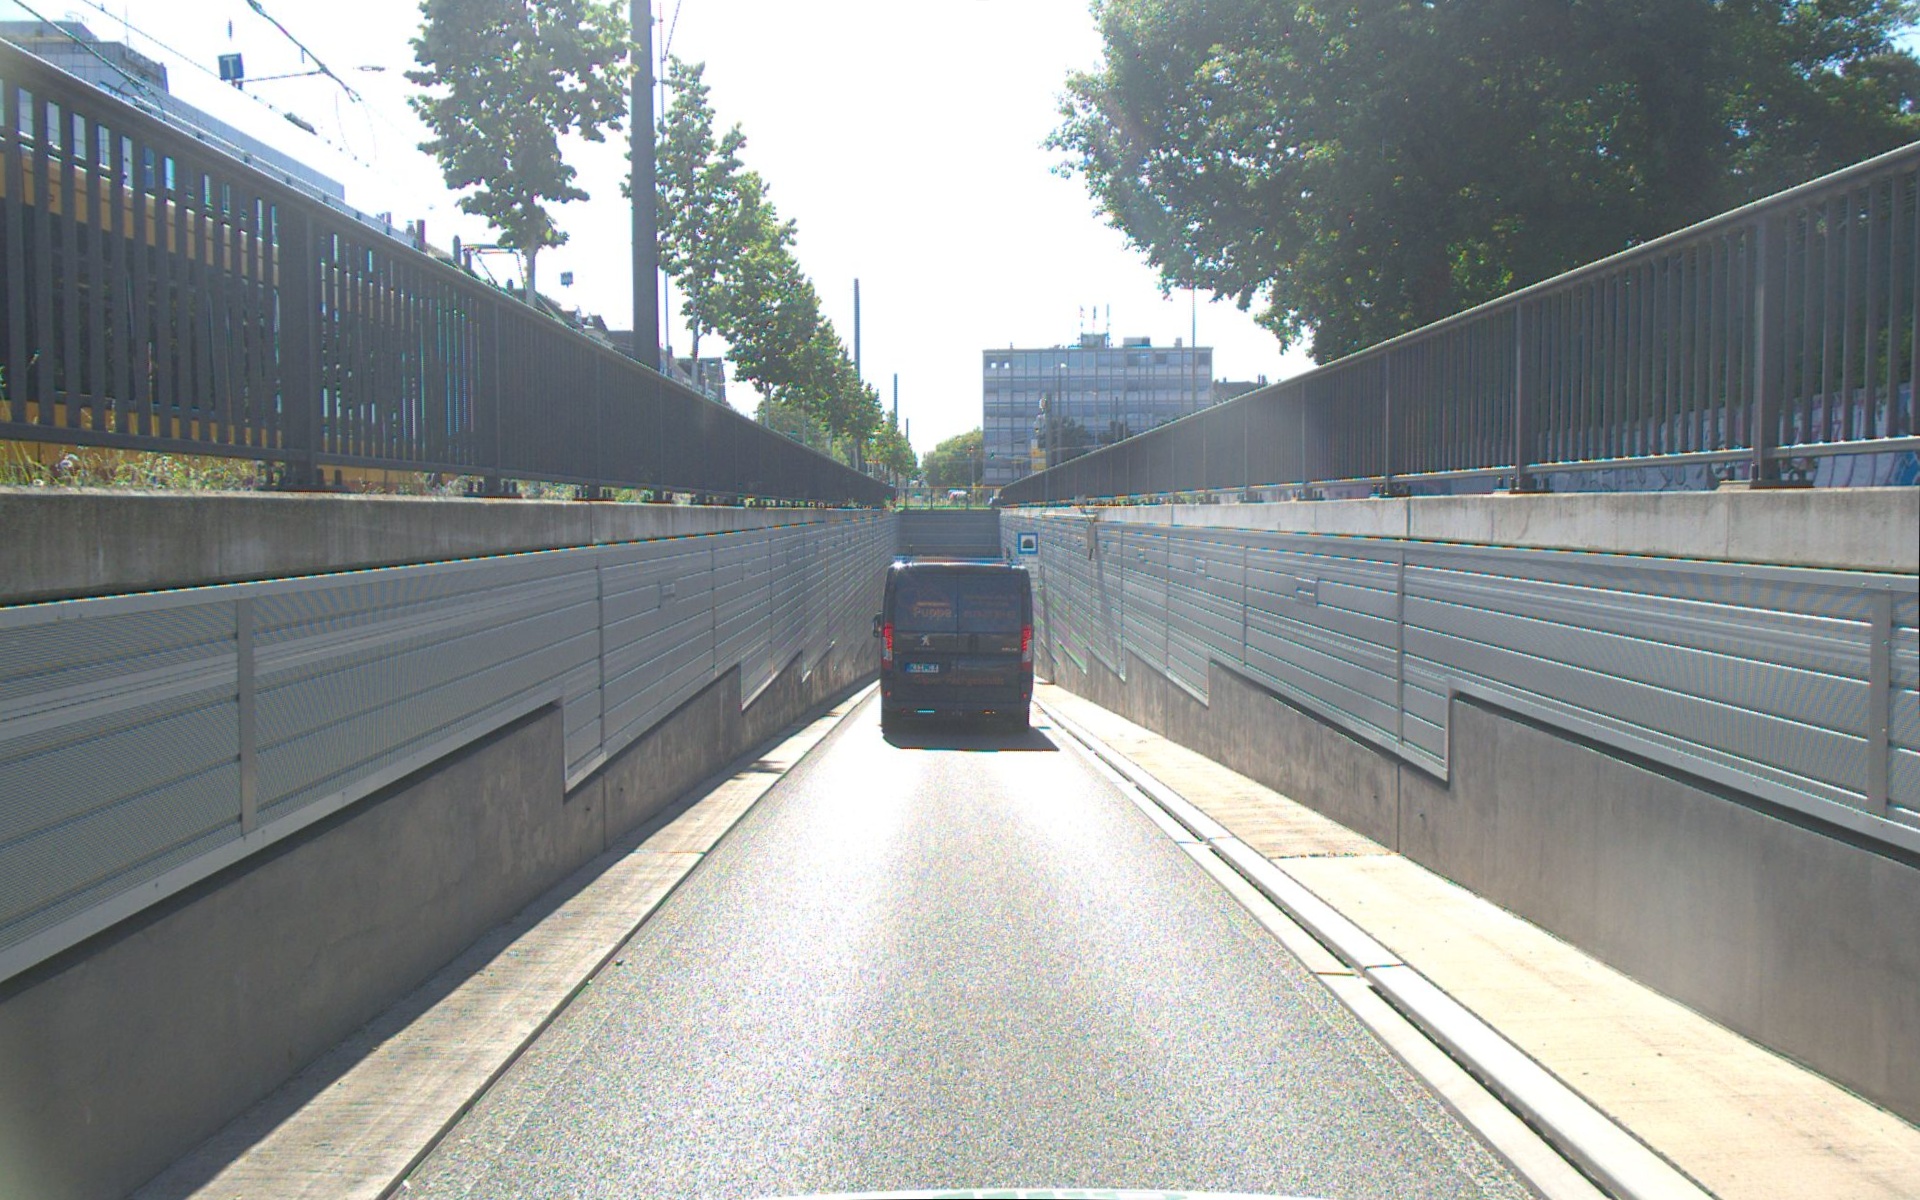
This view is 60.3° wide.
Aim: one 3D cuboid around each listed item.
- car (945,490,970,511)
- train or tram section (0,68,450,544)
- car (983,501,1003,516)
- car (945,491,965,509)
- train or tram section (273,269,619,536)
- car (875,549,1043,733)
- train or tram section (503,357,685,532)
[{"bbox_3d":[-0.206,-7.369,122.698,1.705,1.589,4.000,0,3,-2],"label":"car"},{"bbox_3d":[-8.843,-2.545,17.928,2.557,3.719,13.344,1,2,0],"label":"train or tram section"},{"bbox_3d":[3.205,-8.841,159.674,1.705,1.445,4.000,0,3,-2],"label":"car"},{"bbox_3d":[-0.472,-9.102,150.571,1.705,1.589,4.000,0,3,-2],"label":"car"},{"bbox_3d":[-8.982,-3.207,31.083,2.557,3.887,13.092,1,2,-1],"label":"train or tram section"},{"bbox_3d":[-0.011,0.573,23.328,2.114,2.306,4.636,1,-1,0],"label":"car"},{"bbox_3d":[-9.160,-3.752,42.609,2.559,3.920,9.972,1,2,-1],"label":"train or tram section"}]
